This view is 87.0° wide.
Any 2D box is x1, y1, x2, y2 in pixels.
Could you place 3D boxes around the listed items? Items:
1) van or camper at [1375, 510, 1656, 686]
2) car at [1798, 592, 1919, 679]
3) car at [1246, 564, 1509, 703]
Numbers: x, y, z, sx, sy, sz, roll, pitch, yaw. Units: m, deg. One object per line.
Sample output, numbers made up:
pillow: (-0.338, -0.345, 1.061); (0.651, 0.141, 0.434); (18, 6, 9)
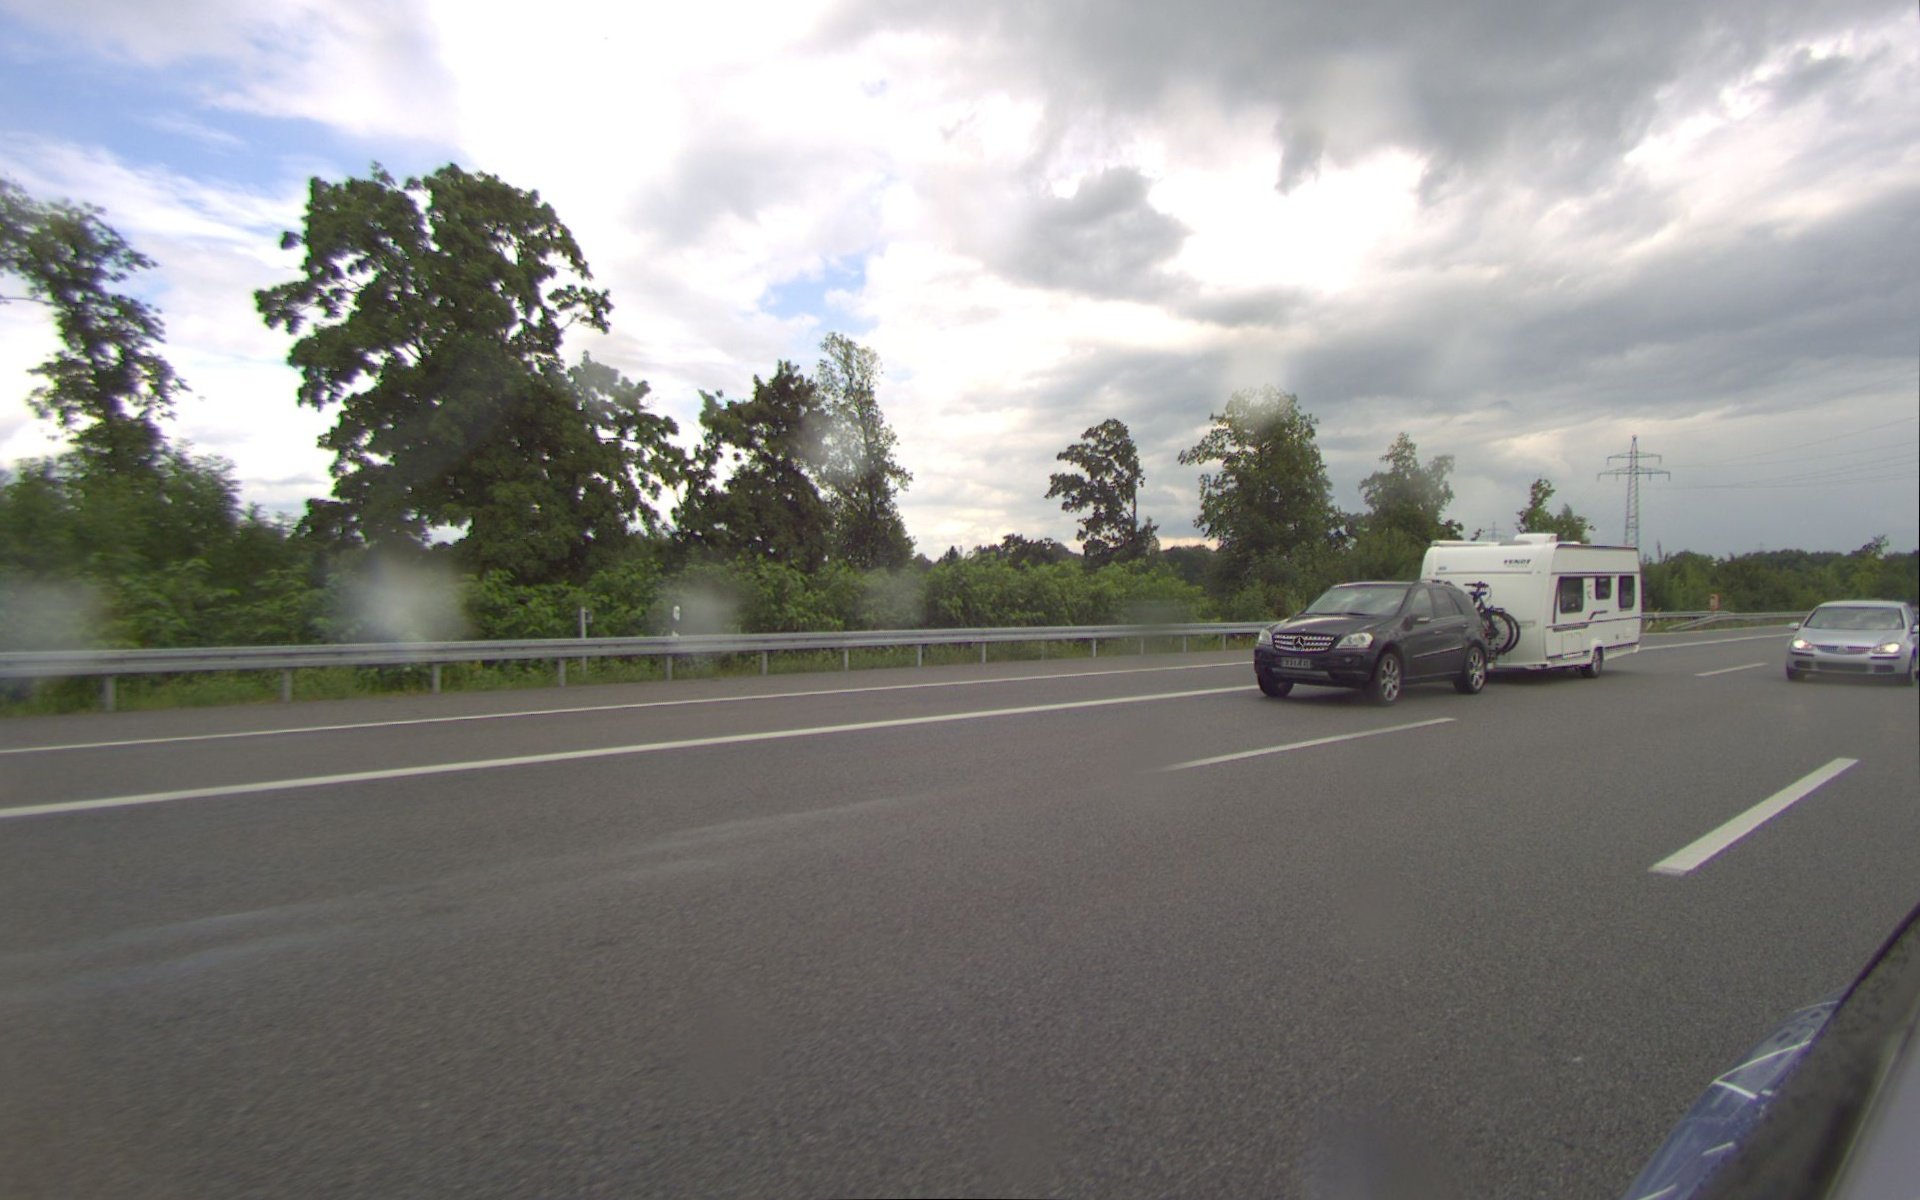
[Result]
van or camper: (10.727, -0.038, 19.189); (7.083, 2.773, 2.388); (0, 0, -41)
car: (17.205, 0.583, 18.984); (3.930, 1.464, 1.682); (0, 0, -41)
car: (6.403, 0.420, 15.310); (4.424, 1.798, 1.923); (0, 0, -41)
